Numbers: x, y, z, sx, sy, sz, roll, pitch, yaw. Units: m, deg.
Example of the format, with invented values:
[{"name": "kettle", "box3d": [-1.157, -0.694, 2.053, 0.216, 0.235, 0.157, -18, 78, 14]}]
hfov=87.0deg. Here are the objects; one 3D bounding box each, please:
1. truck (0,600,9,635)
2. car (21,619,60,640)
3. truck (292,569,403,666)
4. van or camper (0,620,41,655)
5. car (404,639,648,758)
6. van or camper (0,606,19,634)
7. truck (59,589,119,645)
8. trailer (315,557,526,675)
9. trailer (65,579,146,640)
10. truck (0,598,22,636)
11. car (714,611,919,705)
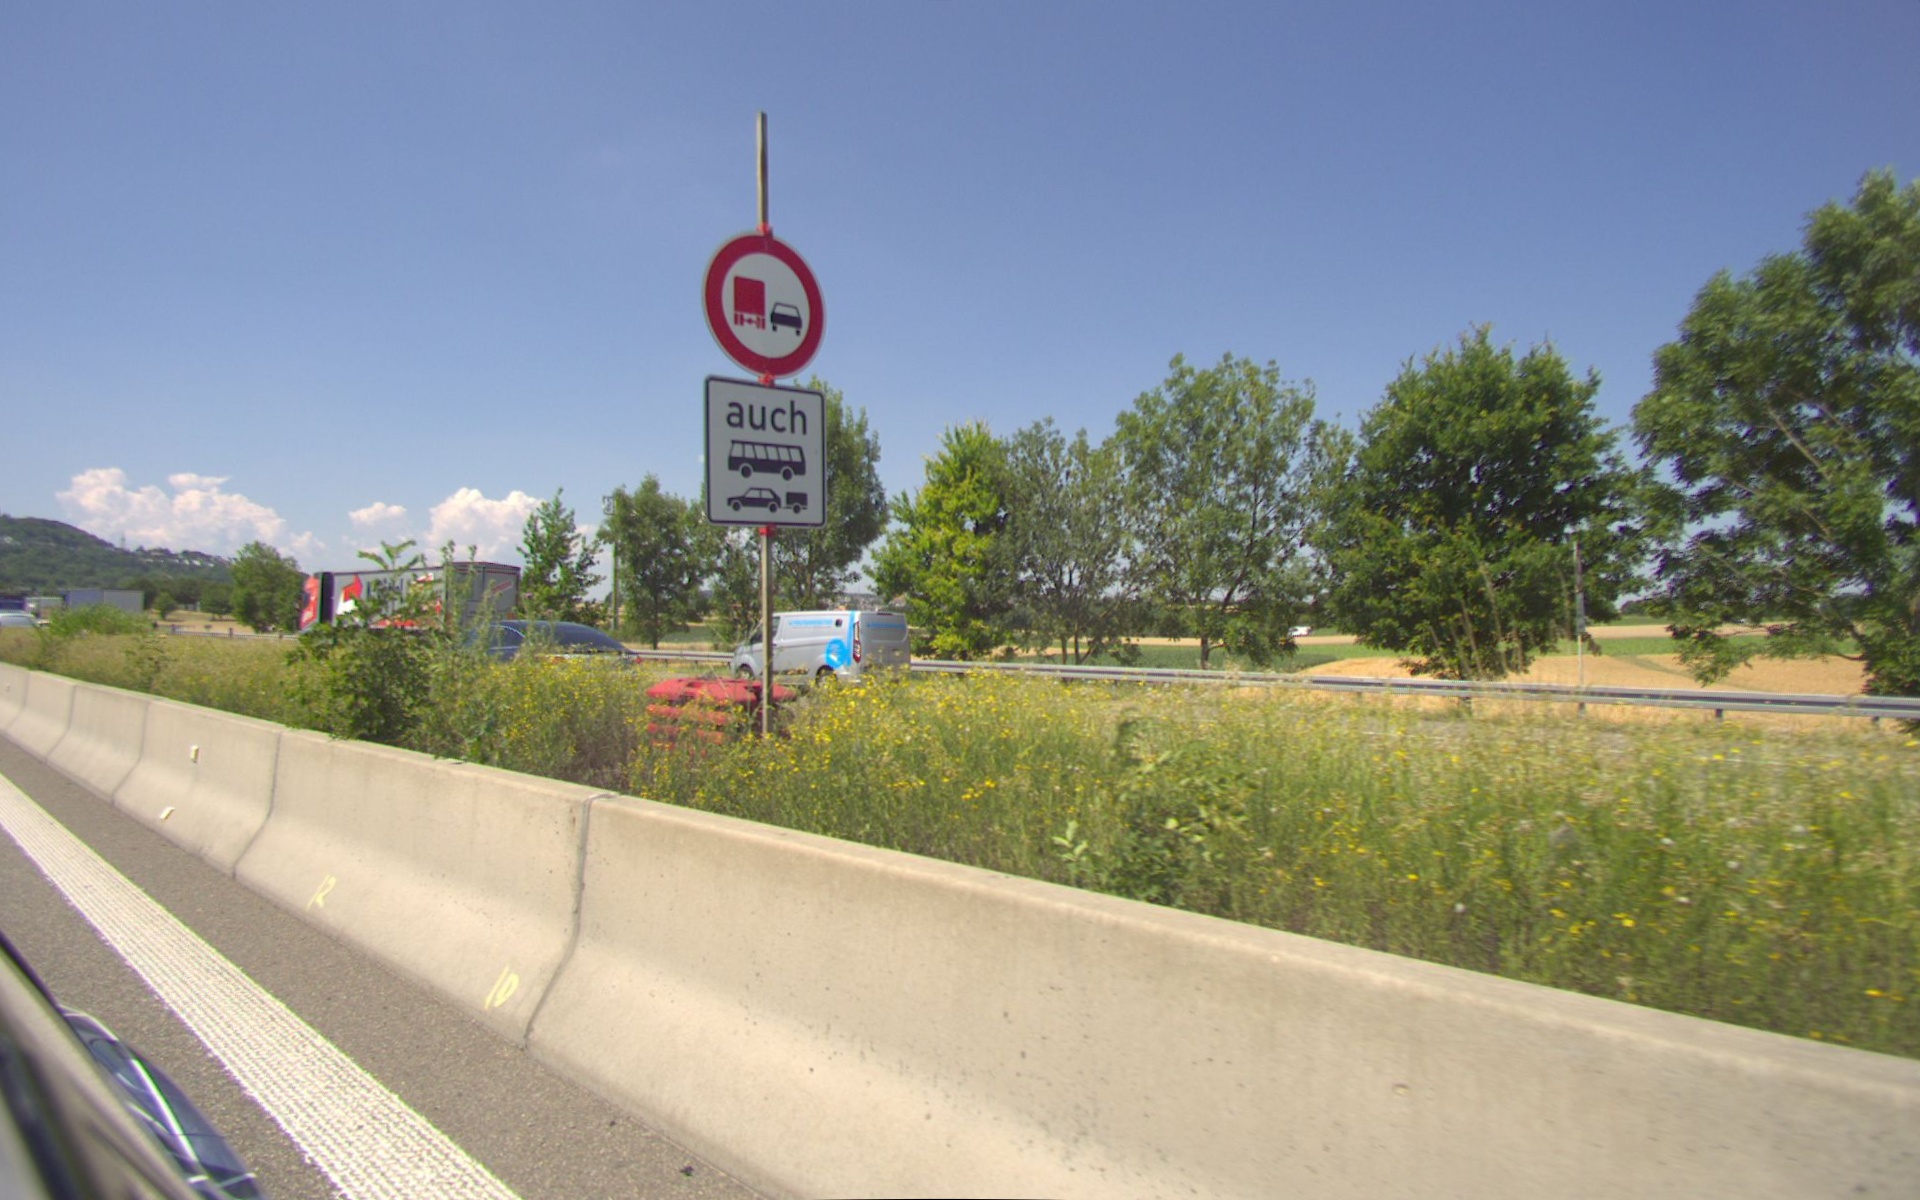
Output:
[{"name": "truck", "box3d": [-119.568, 2.111, 124.847, 4.852, 4.271, 2.565, -1, -4, 41]}, {"name": "car", "box3d": [-66.710, 2.162, 73.419, 3.862, 1.475, 1.600, -1, -2, 40]}, {"name": "truck", "box3d": [-25.960, 0.781, 42.875, 3.998, 3.885, 2.826, -1, -3, 41]}, {"name": "van or camper", "box3d": [-54.440, 2.133, 57.995, 5.198, 1.948, 1.973, -1, -2, 40]}, {"name": "car", "box3d": [-6.997, 1.433, 16.050, 4.726, 1.562, 1.743, -1, -2, 42]}, {"name": "van or camper", "box3d": [-82.310, 1.715, 86.510, 5.490, 2.291, 2.072, -1, -2, 40]}, {"name": "truck", "box3d": [-70.618, 1.403, 82.009, 5.583, 4.383, 2.835, -1, -2, 41]}, {"name": "trailer", "box3d": [-20.726, 0.662, 38.321, 12.179, 3.885, 2.826, -1, -3, 41]}, {"name": "trailer", "box3d": [-65.845, 0.798, 77.784, 13.638, 4.383, 2.852, -1, -2, 42]}, {"name": "truck", "box3d": [-114.338, 2.056, 120.283, 14.115, 4.271, 2.565, -1, -4, 41]}, {"name": "car", "box3d": [-3.437, 1.298, 23.526, 5.114, 1.967, 1.744, -1, -3, 40]}]
